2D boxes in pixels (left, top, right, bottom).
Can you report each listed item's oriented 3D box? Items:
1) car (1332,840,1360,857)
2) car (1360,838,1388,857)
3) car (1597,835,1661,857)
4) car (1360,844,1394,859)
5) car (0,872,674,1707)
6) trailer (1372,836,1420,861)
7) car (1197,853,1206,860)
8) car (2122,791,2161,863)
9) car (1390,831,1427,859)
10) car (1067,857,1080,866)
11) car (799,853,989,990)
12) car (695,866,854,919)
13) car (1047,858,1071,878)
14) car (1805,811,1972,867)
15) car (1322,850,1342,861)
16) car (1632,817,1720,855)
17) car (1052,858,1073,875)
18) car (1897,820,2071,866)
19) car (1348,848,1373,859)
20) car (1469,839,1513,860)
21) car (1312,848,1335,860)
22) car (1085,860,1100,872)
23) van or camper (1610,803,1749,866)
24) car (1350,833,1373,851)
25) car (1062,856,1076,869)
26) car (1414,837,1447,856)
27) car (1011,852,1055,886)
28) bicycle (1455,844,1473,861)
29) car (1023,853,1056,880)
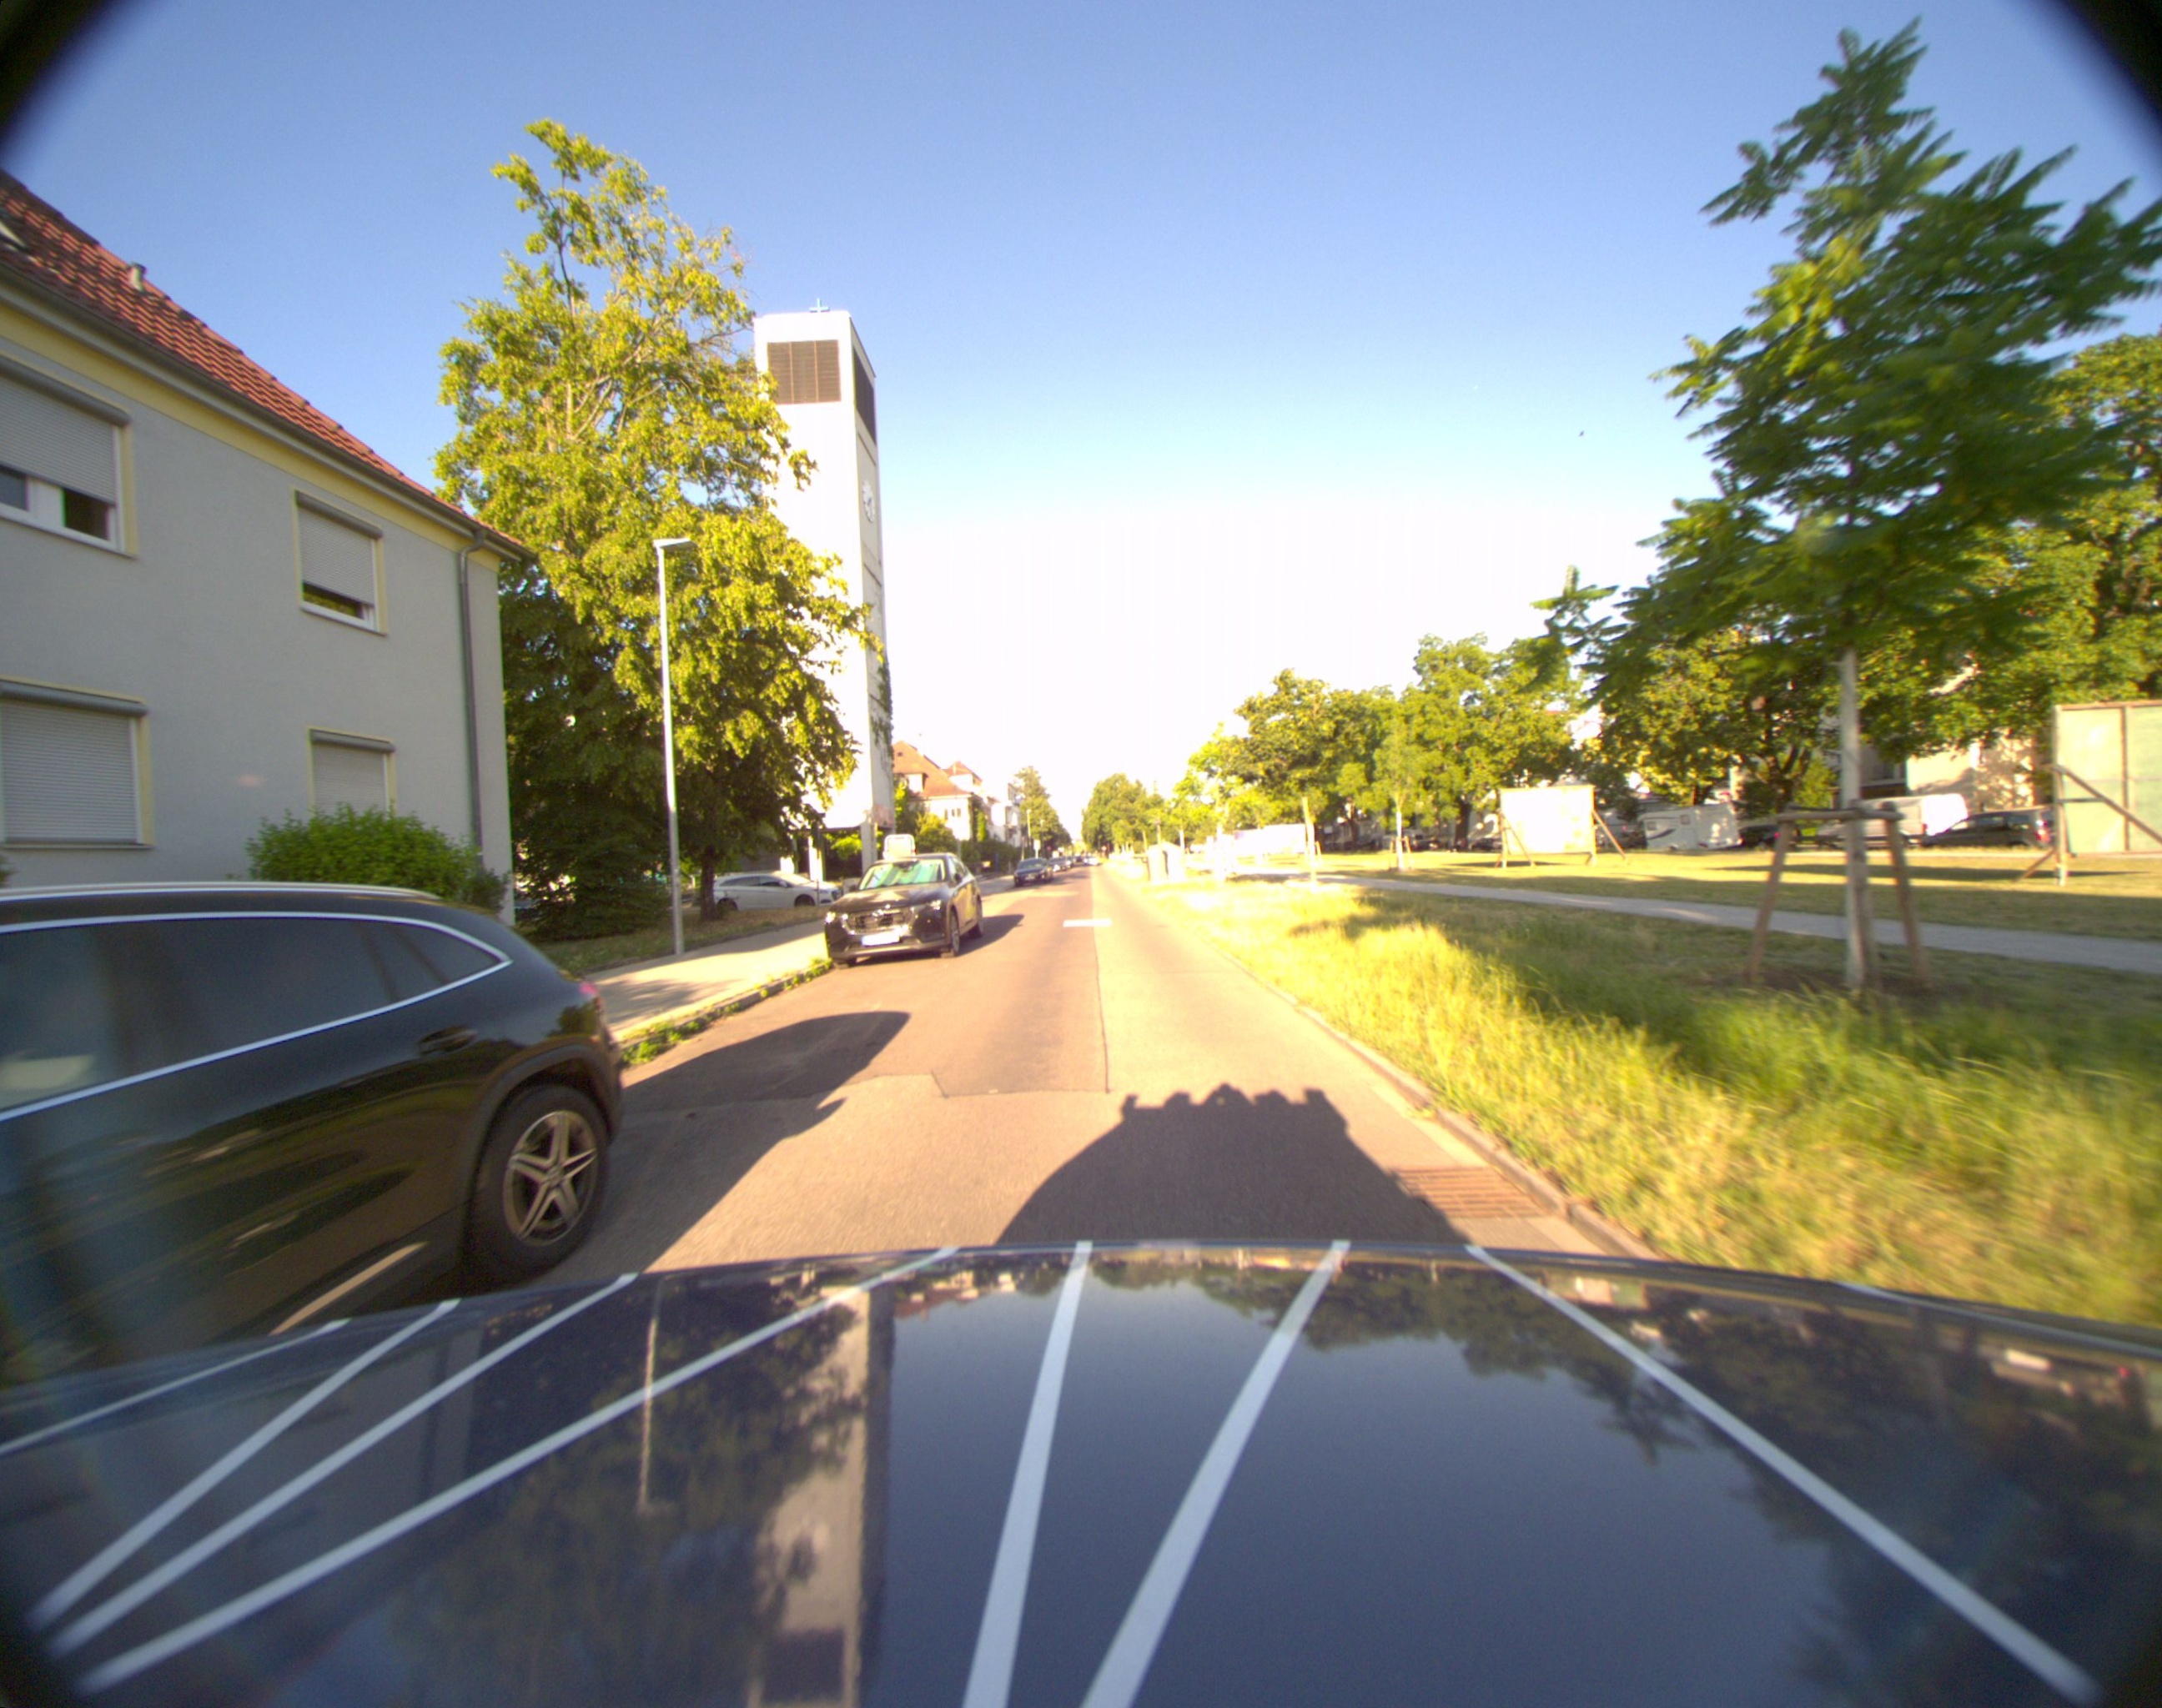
[{"bbox_3d":[35.253,-0.677,101.263,1.999,2.161,4.571,-2,-1,-1],"label":"car"},{"bbox_3d":[41.264,-0.967,107.030,1.950,2.624,5.044,2,1,1],"label":"car"},{"bbox_3d":[40.770,-0.595,56.635,1.999,1.533,3.809,-2,0,-1],"label":"car"},{"bbox_3d":[35.178,-0.318,90.412,1.999,1.632,4.951,-3,0,-1],"label":"car"},{"bbox_3d":[-3.115,1.008,1.534,1.938,1.710,4.621,-5,0,1],"label":"car"},{"bbox_3d":[34.965,-0.619,84.567,2.479,2.644,6.635,2,1,0],"label":"trailer"},{"bbox_3d":[37.176,0.746,234.656,2.125,2.002,3.999,2,1,-1],"label":"car"},{"bbox_3d":[40.165,-0.933,25.805,2.141,2.589,5.324,2,1,-1],"label":"car"},{"bbox_3d":[40.960,-1.086,95.079,1.998,3.230,6.076,-2,-1,1],"label":"car"},{"bbox_3d":[-1.421,1.435,138.568,2.111,1.396,4.132,-7,-1,1],"label":"car"},{"bbox_3d":[-2.886,0.937,12.993,1.837,1.722,5.031,-4,1,1],"label":"car"},{"bbox_3d":[-10.979,1.358,27.496,4.859,1.478,2.001,-3,4,0],"label":"car"},{"bbox_3d":[-2.090,1.362,73.520,1.999,1.588,4.885,-6,1,0],"label":"car"},{"bbox_3d":[40.836,-0.752,38.754,1.998,2.583,6.089,2,1,1],"label":"car"},{"bbox_3d":[41.413,0.287,125.677,1.624,1.814,4.288,-2,-1,-4],"label":"car"},{"bbox_3d":[34.429,-1.014,44.095,1.998,2.002,4.001,-2,0,2],"label":"car"},{"bbox_3d":[-2.011,1.389,85.073,1.888,1.528,4.462,-5,1,3],"label":"car"},{"bbox_3d":[33.864,-0.392,28.689,1.417,1.555,4.310,-2,0,0],"label":"car"},{"bbox_3d":[35.155,-0.055,95.674,1.857,1.308,4.043,-3,0,4],"label":"car"},{"bbox_3d":[40.922,-0.414,75.998,1.894,1.901,4.715,-2,0,2],"label":"car"},{"bbox_3d":[35.497,0.008,111.309,1.999,1.718,4.345,-2,-1,0],"label":"car"},{"bbox_3d":[1.553,1.569,102.866,1.998,1.483,4.000,-2,0,1],"label":"car"},{"bbox_3d":[34.429,-1.014,44.095,2.648,3.243,6.905,-2,0,2],"label":"van or camper"},{"bbox_3d":[41.223,-1.840,111.854,1.998,2.527,3.999,-2,2,1],"label":"car"},{"bbox_3d":[-1.721,1.179,109.177,1.805,1.639,4.583,-7,1,-1],"label":"car"},{"bbox_3d":[40.555,-0.833,88.349,1.998,2.141,4.001,-2,0,2],"label":"car"},{"bbox_3d":[-2.585,0.785,41.775,1.827,1.552,4.622,-8,-1,2],"label":"car"},{"bbox_3d":[31.727,-0.105,62.966,0.512,1.334,2.331,-2,0,4],"label":"bicycle"},{"bbox_3d":[-2.599,0.786,48.491,1.691,1.519,4.175,-6,-1,1],"label":"car"}]
